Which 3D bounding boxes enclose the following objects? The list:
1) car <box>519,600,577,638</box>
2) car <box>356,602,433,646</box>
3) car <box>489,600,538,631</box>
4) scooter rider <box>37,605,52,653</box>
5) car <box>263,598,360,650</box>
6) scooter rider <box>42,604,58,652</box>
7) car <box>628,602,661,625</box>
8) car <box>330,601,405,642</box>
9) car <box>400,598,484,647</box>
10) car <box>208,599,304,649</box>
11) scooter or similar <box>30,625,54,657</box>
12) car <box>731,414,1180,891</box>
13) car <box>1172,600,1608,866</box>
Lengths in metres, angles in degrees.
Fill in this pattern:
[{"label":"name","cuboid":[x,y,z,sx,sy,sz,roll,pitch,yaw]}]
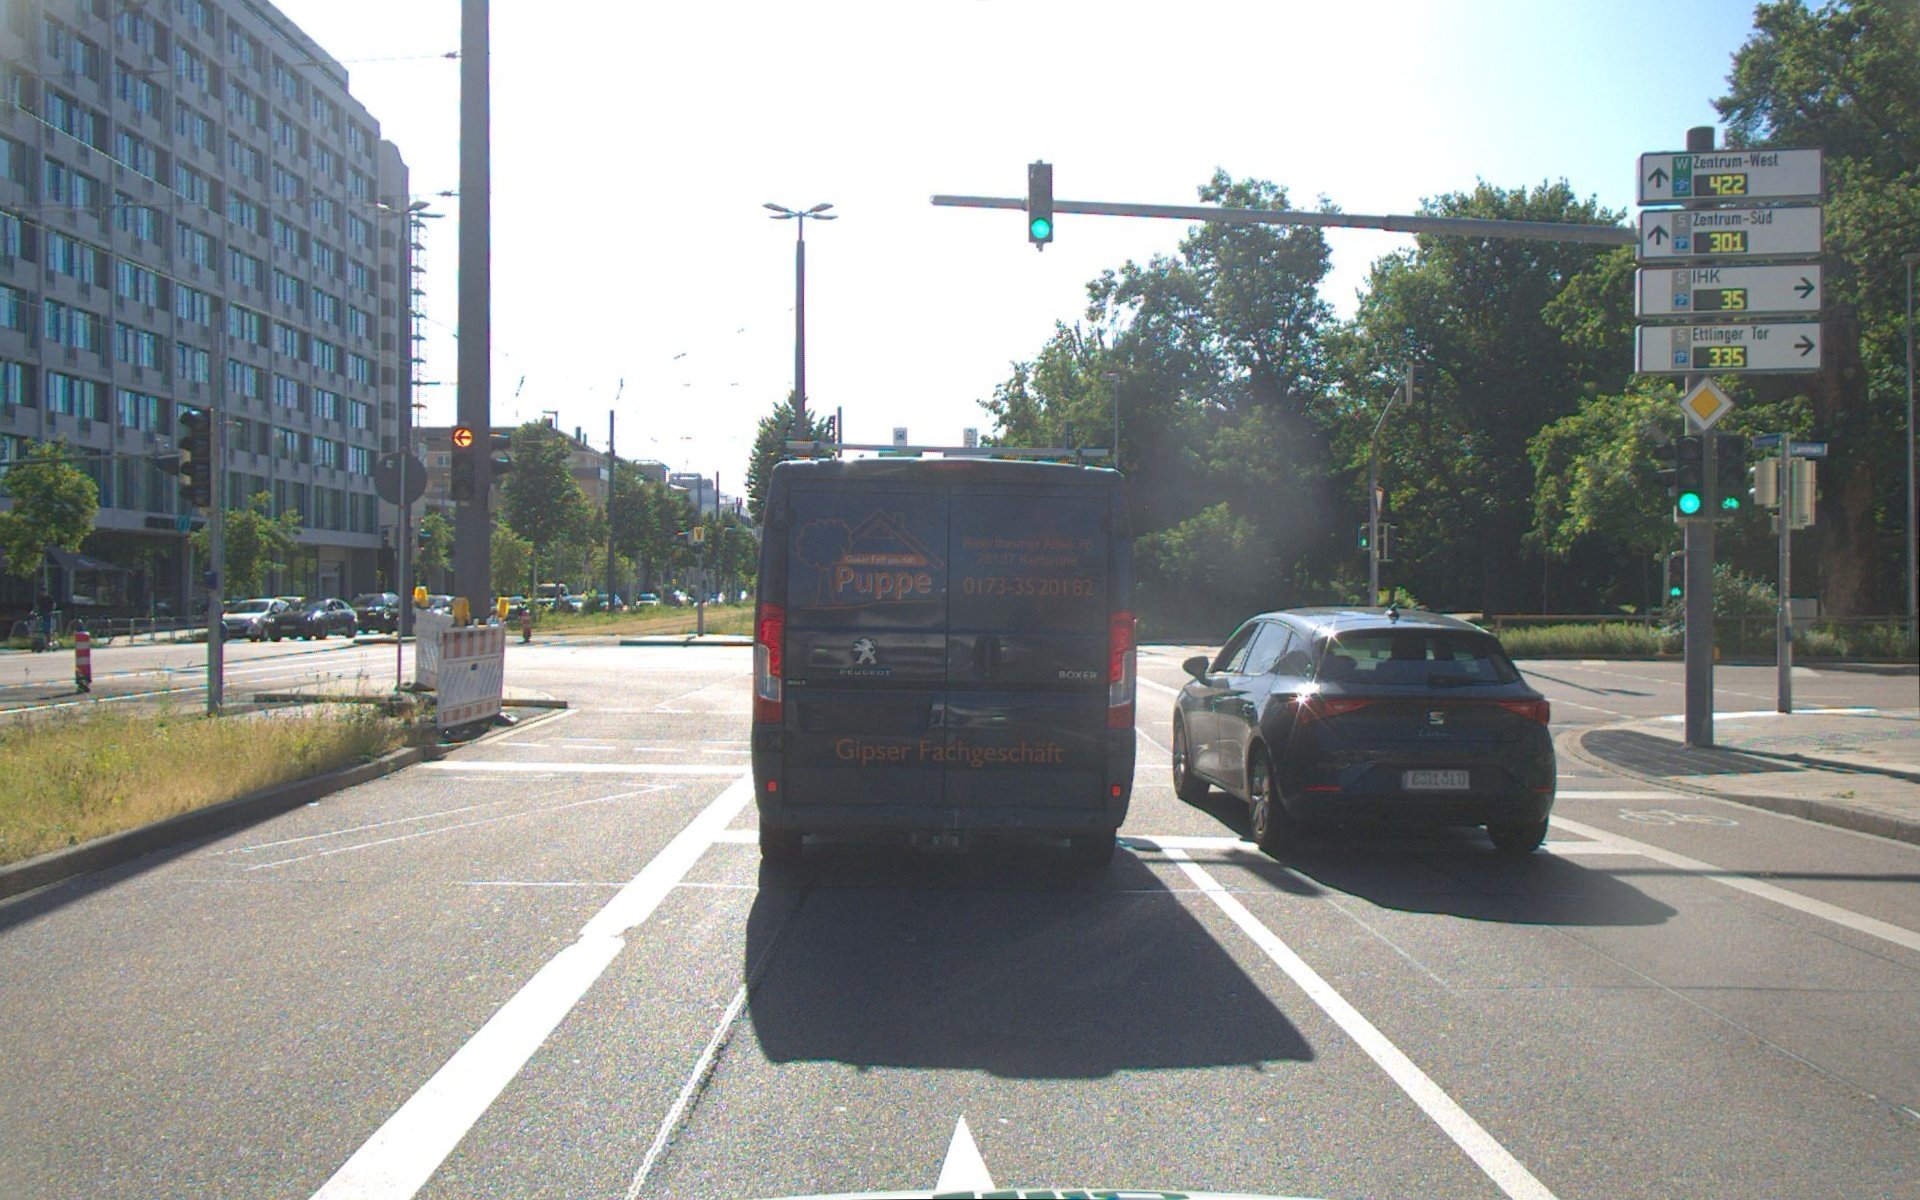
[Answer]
[{"label":"car","cuboid":[-19.358,0.870,77.946,1.754,1.680,4.000,0,0,-1]},{"label":"car","cuboid":[-22.764,0.934,66.724,1.754,1.680,4.000,0,0,-1]},{"label":"car","cuboid":[-25.905,0.887,96.035,1.754,1.680,4.000,0,0,-1]},{"label":"scooter rider","cuboid":[-28.524,0.904,51.545,0.335,1.478,0.239,0,0,-1]},{"label":"car","cuboid":[-22.198,0.799,56.782,1.754,1.680,4.000,0,0,-1]},{"label":"scooter rider","cuboid":[-27.769,0.852,50.464,0.335,1.478,0.239,0,0,-1]},{"label":"car","cuboid":[-23.324,0.978,122.346,1.754,1.680,4.000,0,0,-1]},{"label":"car","cuboid":[-25.320,0.887,70.806,1.754,1.680,4.000,0,0,-1]},{"label":"car","cuboid":[-18.962,0.793,60.699,1.754,1.680,4.334,0,0,-1]},{"label":"car","cuboid":[-25.067,0.814,59.017,1.754,1.680,4.000,0,0,-1]},{"label":"scooter or similar","cuboid":[-28.615,1.277,51.560,0.279,0.964,0.768,0,0,6]},{"label":"car","cuboid":[-0.100,0.234,10.381,2.173,2.307,4.482,1,1,-2]},{"label":"car","cuboid":[2.638,0.740,11.092,1.756,1.453,3.848,1,0,-3]}]
